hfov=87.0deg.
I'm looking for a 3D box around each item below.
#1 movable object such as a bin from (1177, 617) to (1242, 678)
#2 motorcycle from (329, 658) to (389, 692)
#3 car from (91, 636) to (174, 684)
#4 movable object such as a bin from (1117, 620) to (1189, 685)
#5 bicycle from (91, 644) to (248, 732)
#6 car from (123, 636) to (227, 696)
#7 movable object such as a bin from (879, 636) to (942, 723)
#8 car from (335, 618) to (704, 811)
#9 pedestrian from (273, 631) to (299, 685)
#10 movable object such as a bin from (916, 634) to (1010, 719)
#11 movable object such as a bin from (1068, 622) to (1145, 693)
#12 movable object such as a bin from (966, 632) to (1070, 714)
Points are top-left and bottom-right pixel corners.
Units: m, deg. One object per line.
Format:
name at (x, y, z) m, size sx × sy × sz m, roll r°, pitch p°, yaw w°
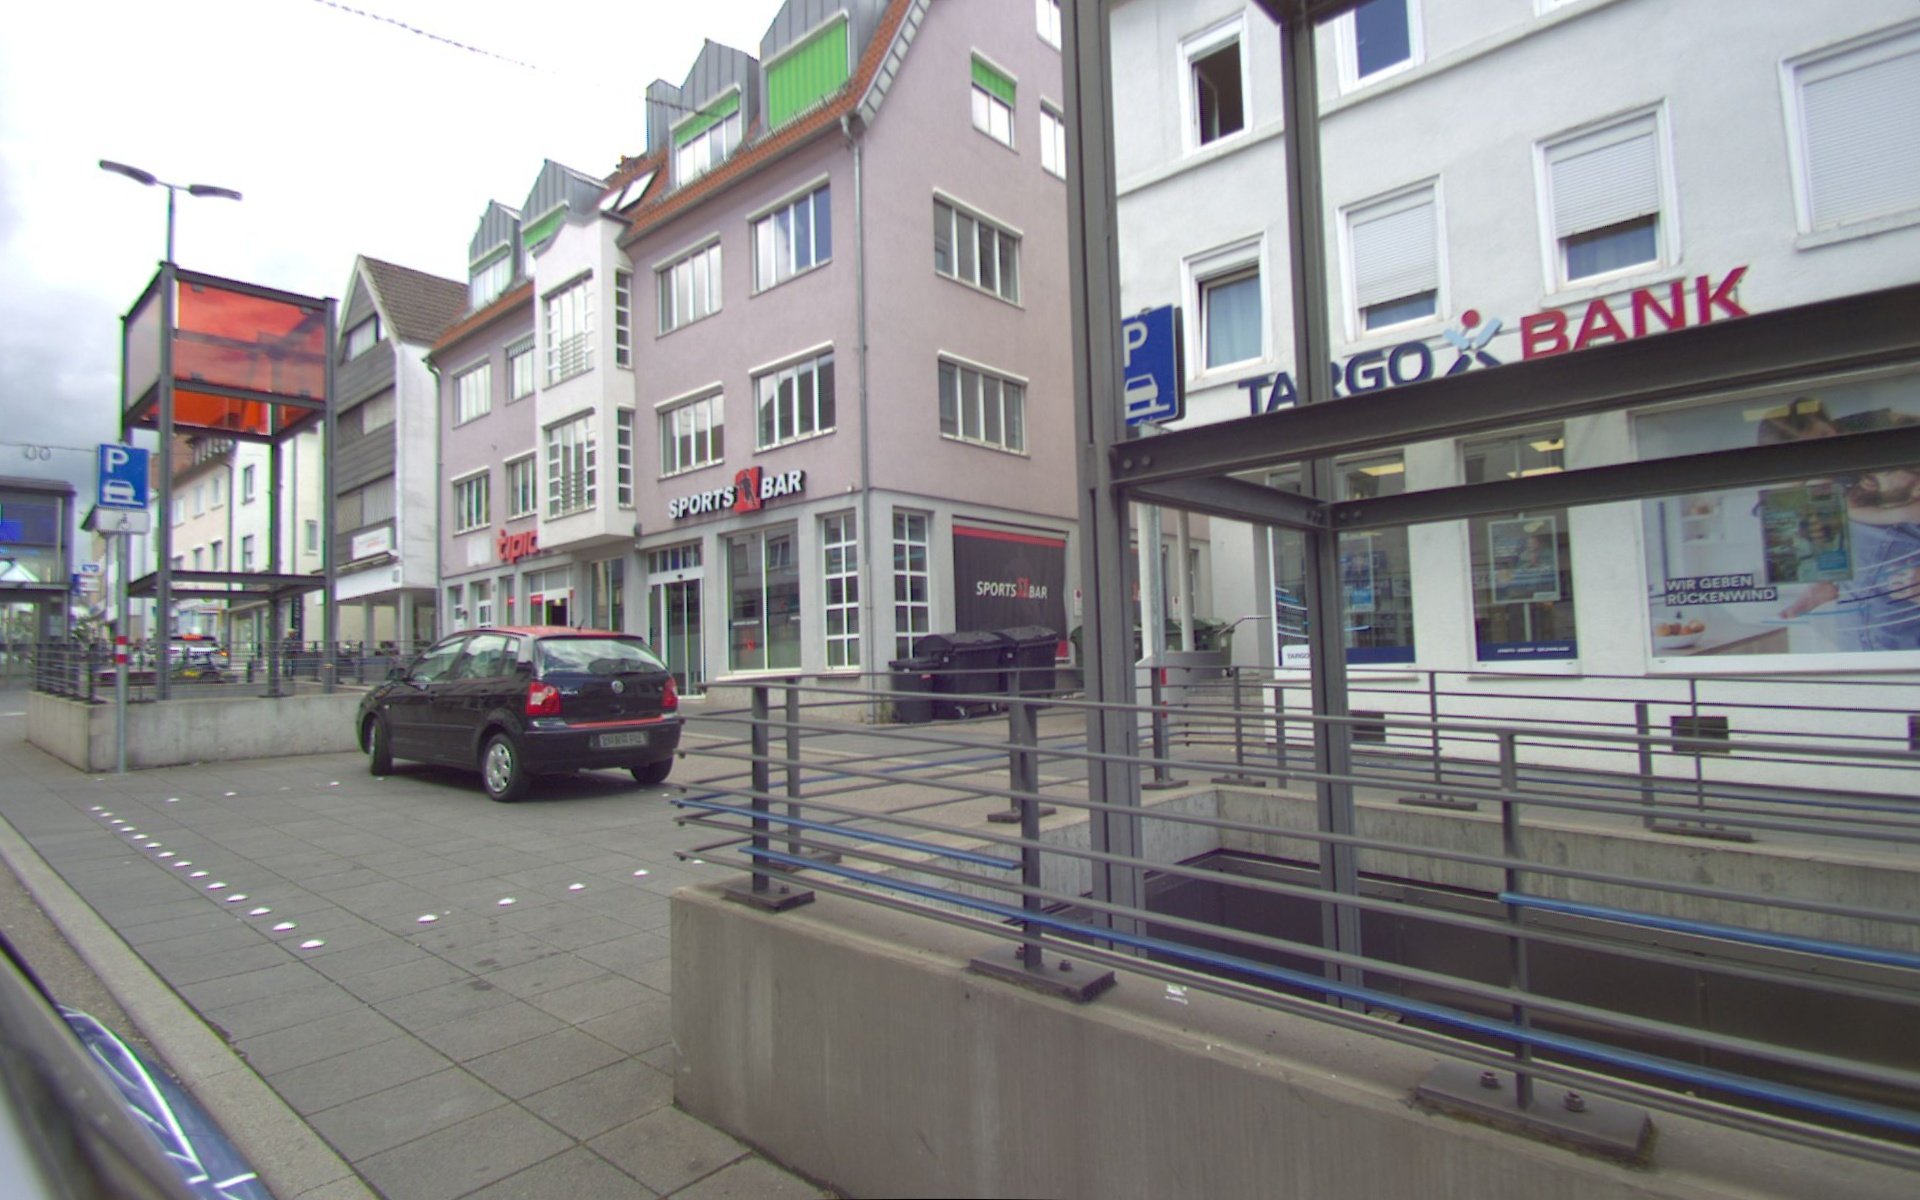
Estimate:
movable object such as a bin at (5.948, 1.128, 24.143) m, size 1.043 × 1.387 × 1.270 m, roll -2°, pitch -3°, yaw 41°
motorcycle at (-22.199, 2.751, 37.396) m, size 0.633 × 1.149 × 1.830 m, roll -2°, pitch -1°, yaw 40°
car at (-30.044, 2.129, 36.721) m, size 4.120 × 1.583 × 1.662 m, roll -2°, pitch -2°, yaw 41°
movable object such as a bin at (4.236, 1.143, 22.196) m, size 1.043 × 1.387 × 1.270 m, roll -2°, pitch -3°, yaw 41°
bicycle at (-11.778, 1.291, 15.137) m, size 0.459 × 1.232 × 1.760 m, roll -2°, pitch -4°, yaw 40°
car at (-23.091, 1.881, 29.729) m, size 4.120 × 1.583 × 1.662 m, roll -2°, pitch -2°, yaw 41°
movable object such as a bin at (-0.823, 1.300, 16.774) m, size 0.807 × 1.387 × 0.682 m, roll -2°, pitch -3°, yaw 41°
car at (-4.285, 0.946, 9.624) m, size 3.850 × 1.486 × 1.554 m, roll -2°, pitch -3°, yaw 38°
pedestrian at (-22.019, 1.887, 33.066) m, size 0.513 × 1.729 × 0.584 m, roll -2°, pitch -2°, yaw 41°
movable object such as a bin at (0.060, 1.284, 17.442) m, size 1.067 × 1.387 × 1.270 m, roll -2°, pitch -3°, yaw 41°
movable object such as a bin at (2.995, 1.159, 20.663) m, size 1.043 × 1.387 × 1.270 m, roll -2°, pitch -3°, yaw 41°
movable object such as a bin at (1.054, 1.288, 18.294) m, size 1.406 × 1.387 × 1.270 m, roll -2°, pitch -3°, yaw 41°
